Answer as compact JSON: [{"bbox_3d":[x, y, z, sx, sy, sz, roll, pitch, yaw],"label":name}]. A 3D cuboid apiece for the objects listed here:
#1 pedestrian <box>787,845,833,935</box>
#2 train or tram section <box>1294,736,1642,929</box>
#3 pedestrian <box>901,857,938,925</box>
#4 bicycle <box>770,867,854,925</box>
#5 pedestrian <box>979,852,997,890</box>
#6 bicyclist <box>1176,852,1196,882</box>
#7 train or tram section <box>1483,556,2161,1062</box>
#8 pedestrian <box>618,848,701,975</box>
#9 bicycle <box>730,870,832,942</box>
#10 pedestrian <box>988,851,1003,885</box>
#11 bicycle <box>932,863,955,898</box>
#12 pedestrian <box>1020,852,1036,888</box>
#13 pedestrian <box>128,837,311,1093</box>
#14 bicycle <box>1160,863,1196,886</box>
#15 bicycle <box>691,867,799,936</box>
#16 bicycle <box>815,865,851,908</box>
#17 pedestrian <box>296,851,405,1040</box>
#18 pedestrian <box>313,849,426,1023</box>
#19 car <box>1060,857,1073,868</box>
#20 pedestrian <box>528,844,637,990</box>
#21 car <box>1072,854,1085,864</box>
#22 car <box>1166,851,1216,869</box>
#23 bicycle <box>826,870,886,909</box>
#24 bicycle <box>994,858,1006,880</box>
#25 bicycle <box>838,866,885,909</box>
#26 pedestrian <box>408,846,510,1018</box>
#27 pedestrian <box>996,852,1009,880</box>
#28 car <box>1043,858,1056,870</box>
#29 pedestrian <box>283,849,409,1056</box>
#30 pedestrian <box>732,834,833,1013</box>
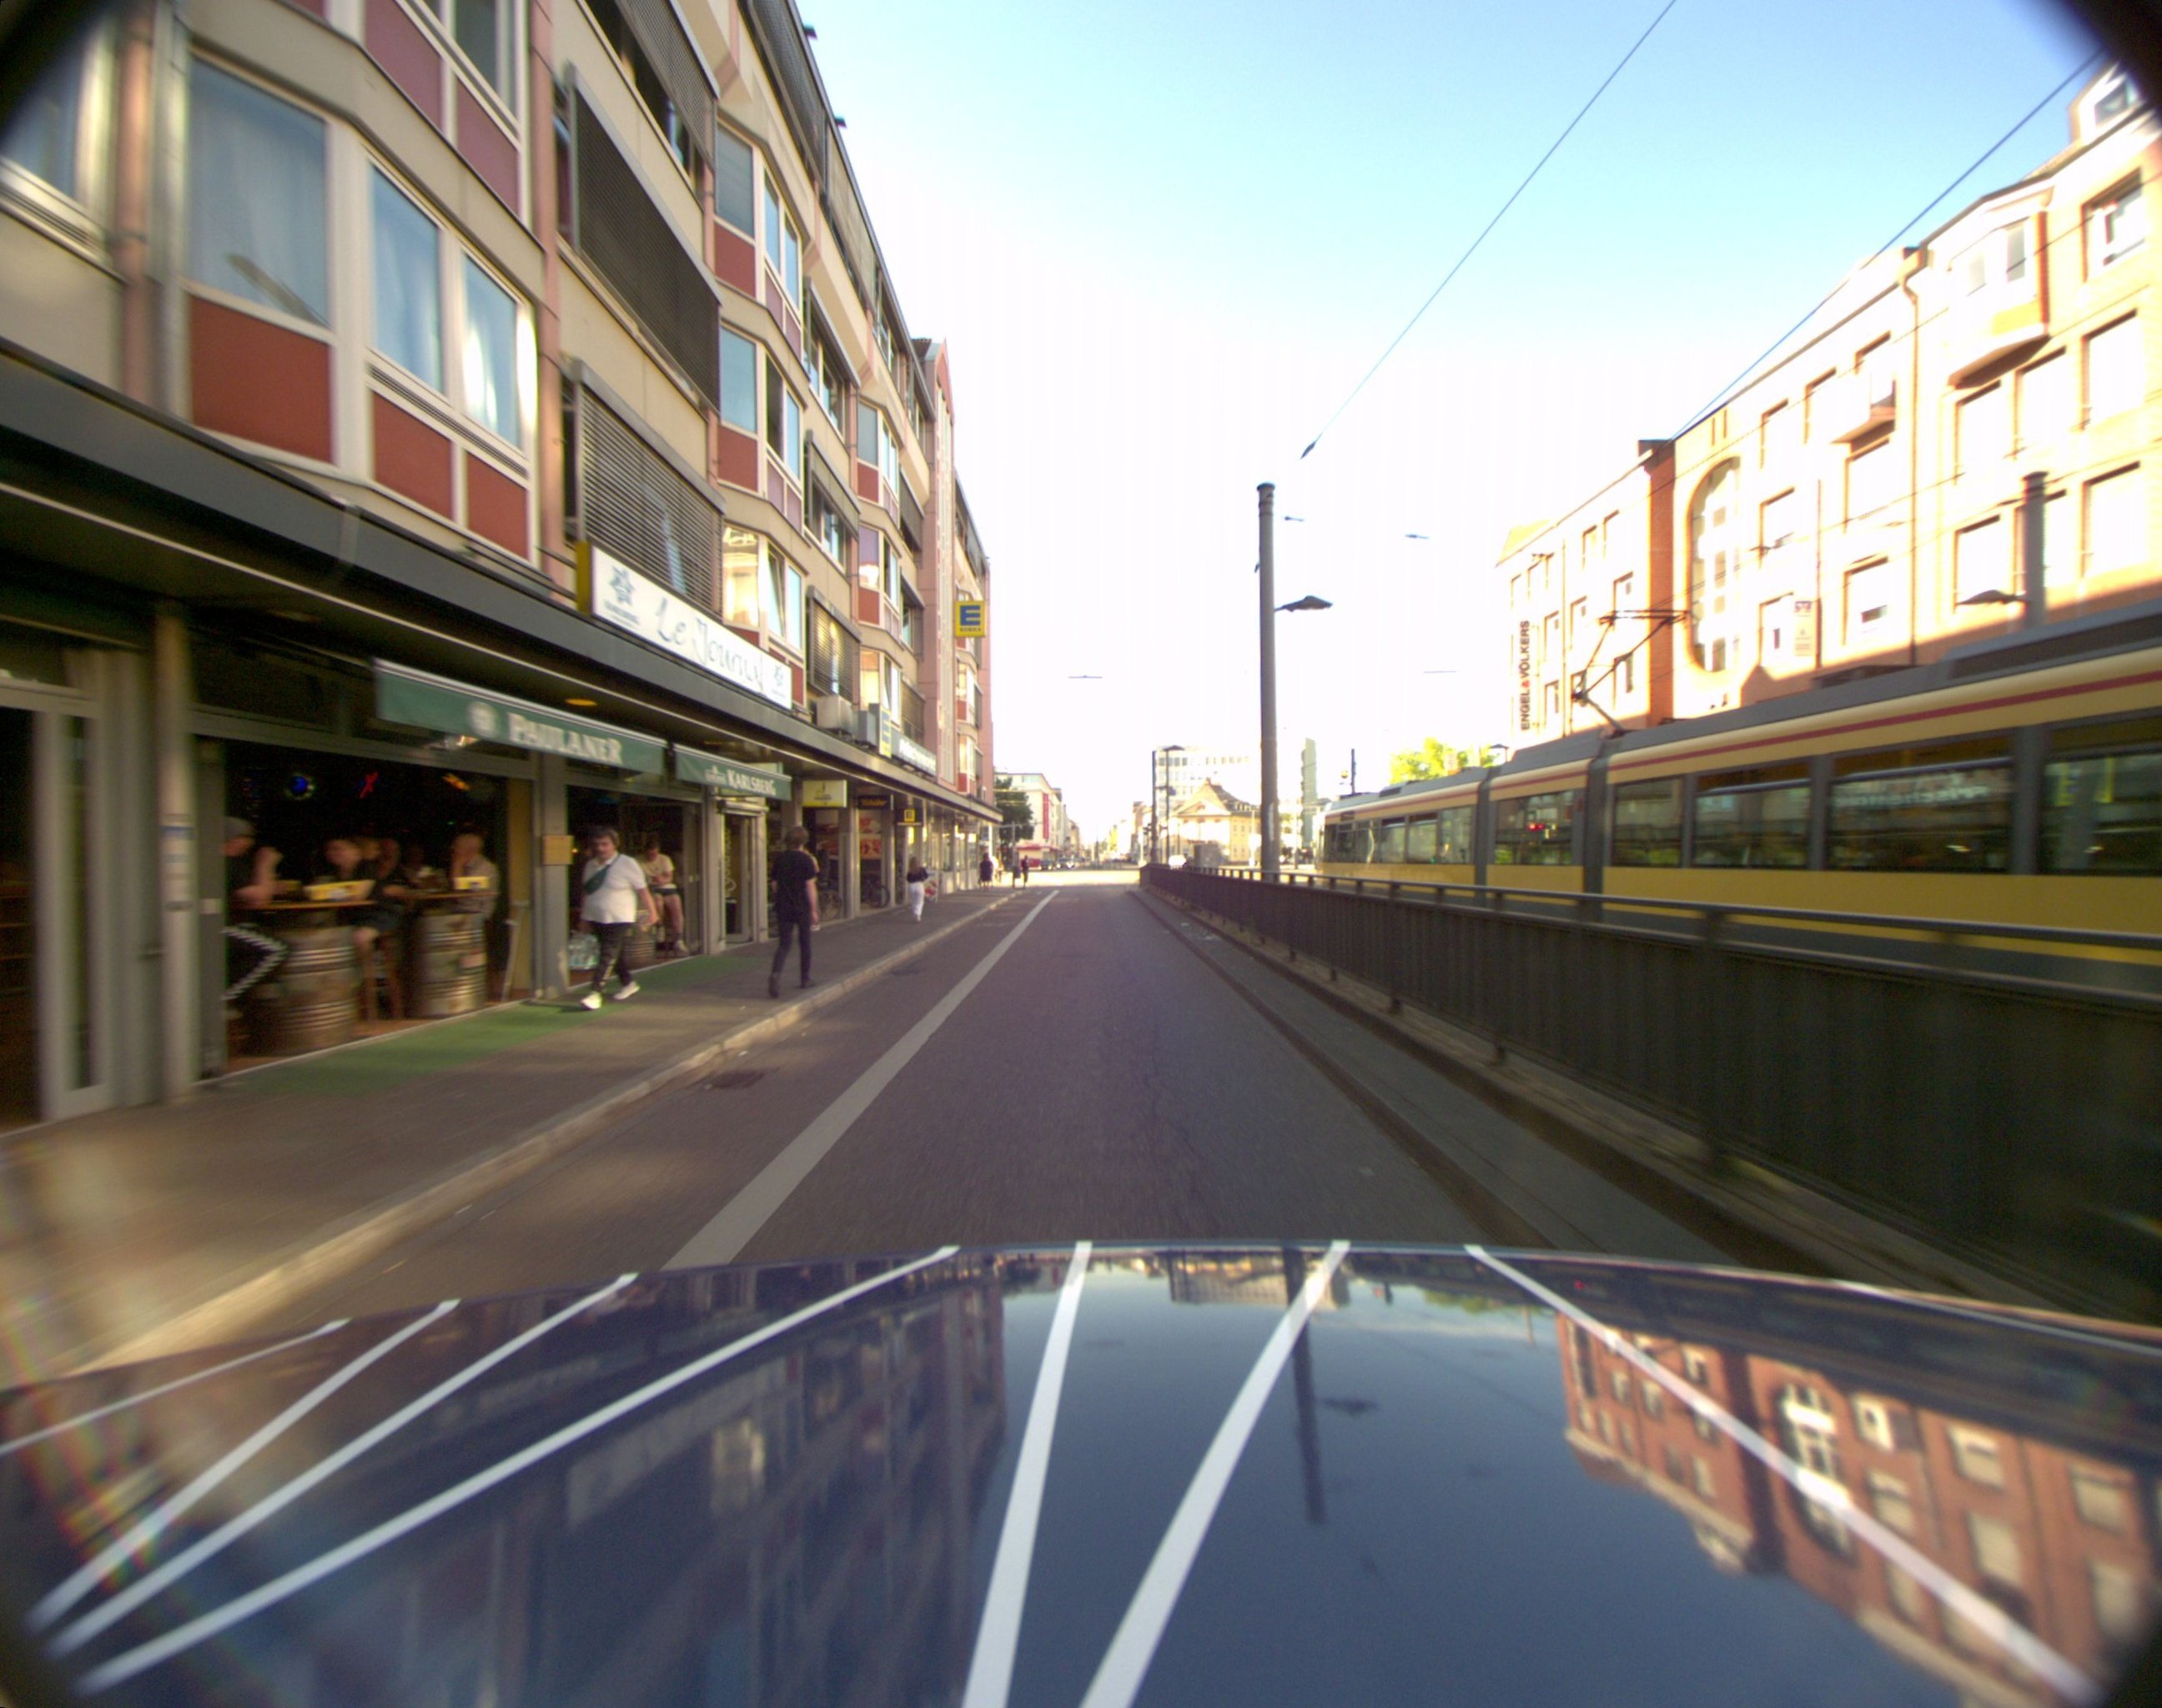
[{"bbox_3d":[-5.338,0.702,14.981,0.789,1.712,0.590,2,2,-17],"label":"pedestrian"},{"bbox_3d":[9.477,-0.467,21.728,2.981,3.623,13.943,-2,0,1],"label":"train or tram section"},{"bbox_3d":[-3.727,0.837,17.588,0.667,1.512,0.789,2,1,-3],"label":"pedestrian"},{"bbox_3d":[-6.306,0.954,17.950,0.555,1.229,2.087,0,1,25],"label":"bicycle"},{"bbox_3d":[-3.978,0.718,32.600,0.709,1.604,0.495,0,2,0],"label":"pedestrian"},{"bbox_3d":[4.864,0.594,35.168,0.750,1.372,0.901,-1,1,-5],"label":"bicyclist"},{"bbox_3d":[9.260,-0.360,6.568,2.981,3.623,16.486,-2,0,1],"label":"train or tram section"},{"bbox_3d":[-5.622,0.747,10.168,0.728,1.627,0.639,1,1,2],"label":"pedestrian"},{"bbox_3d":[-5.862,0.974,14.986,0.470,1.244,2.087,0,1,25],"label":"bicycle"},{"bbox_3d":[-4.576,0.737,40.490,0.671,1.751,0.679,-2,1,-11],"label":"pedestrian"},{"bbox_3d":[-4.669,0.893,25.901,0.516,1.121,1.406,-1,1,0],"label":"bicycle"},{"bbox_3d":[-2.798,0.827,39.752,0.680,1.832,0.606,-3,1,-12],"label":"pedestrian"},{"bbox_3d":[-5.922,0.728,5.251,0.580,1.673,0.553,-1,1,-1],"label":"pedestrian"},{"bbox_3d":[4.492,0.955,35.276,1.592,1.027,0.418,-1,1,-5],"label":"bicycle"},{"bbox_3d":[-6.811,0.931,15.525,0.575,1.246,2.119,-2,1,24],"label":"bicycle"},{"bbox_3d":[-7.188,0.926,22.003,0.423,1.193,1.477,-1,1,-42],"label":"bicycle"},{"bbox_3d":[-6.368,0.773,6.638,0.457,1.594,0.464,-1,1,3],"label":"pedestrian"},{"bbox_3d":[-6.779,0.759,7.260,0.521,1.597,0.542,-1,1,6],"label":"pedestrian"},{"bbox_3d":[-2.071,1.218,108.596,1.771,1.458,3.812,-1,0,-2],"label":"car"},{"bbox_3d":[-5.978,0.735,9.152,0.774,1.665,0.696,-2,1,1],"label":"pedestrian"},{"bbox_3d":[-0.384,0.874,129.810,1.999,1.683,3.998,-1,0,-3],"label":"car"},{"bbox_3d":[9.714,0.525,67.189,3.988,1.496,2.004,0,1,40],"label":"car"},{"bbox_3d":[-6.232,0.970,21.061,1.513,1.035,0.434,-1,0,-2],"label":"bicycle"},{"bbox_3d":[-4.678,0.873,43.784,0.430,1.206,1.822,-3,1,-14],"label":"bicycle"},{"bbox_3d":[-6.360,0.955,22.000,1.477,1.193,0.483,0,1,37],"label":"bicycle"},{"bbox_3d":[-6.066,0.741,7.430,0.517,1.623,0.522,-1,1,6],"label":"pedestrian"},{"bbox_3d":[-4.560,0.698,44.227,0.655,1.598,0.595,-3,1,-13],"label":"pedestrian"},{"bbox_3d":[-4.223,1.344,101.999,1.771,1.458,3.812,-1,0,-2],"label":"car"},{"bbox_3d":[-5.914,0.762,6.139,0.457,1.594,0.529,-1,1,1],"label":"pedestrian"},{"bbox_3d":[-3.270,0.722,8.399,0.676,1.850,0.992,1,1,2],"label":"pedestrian"}]
